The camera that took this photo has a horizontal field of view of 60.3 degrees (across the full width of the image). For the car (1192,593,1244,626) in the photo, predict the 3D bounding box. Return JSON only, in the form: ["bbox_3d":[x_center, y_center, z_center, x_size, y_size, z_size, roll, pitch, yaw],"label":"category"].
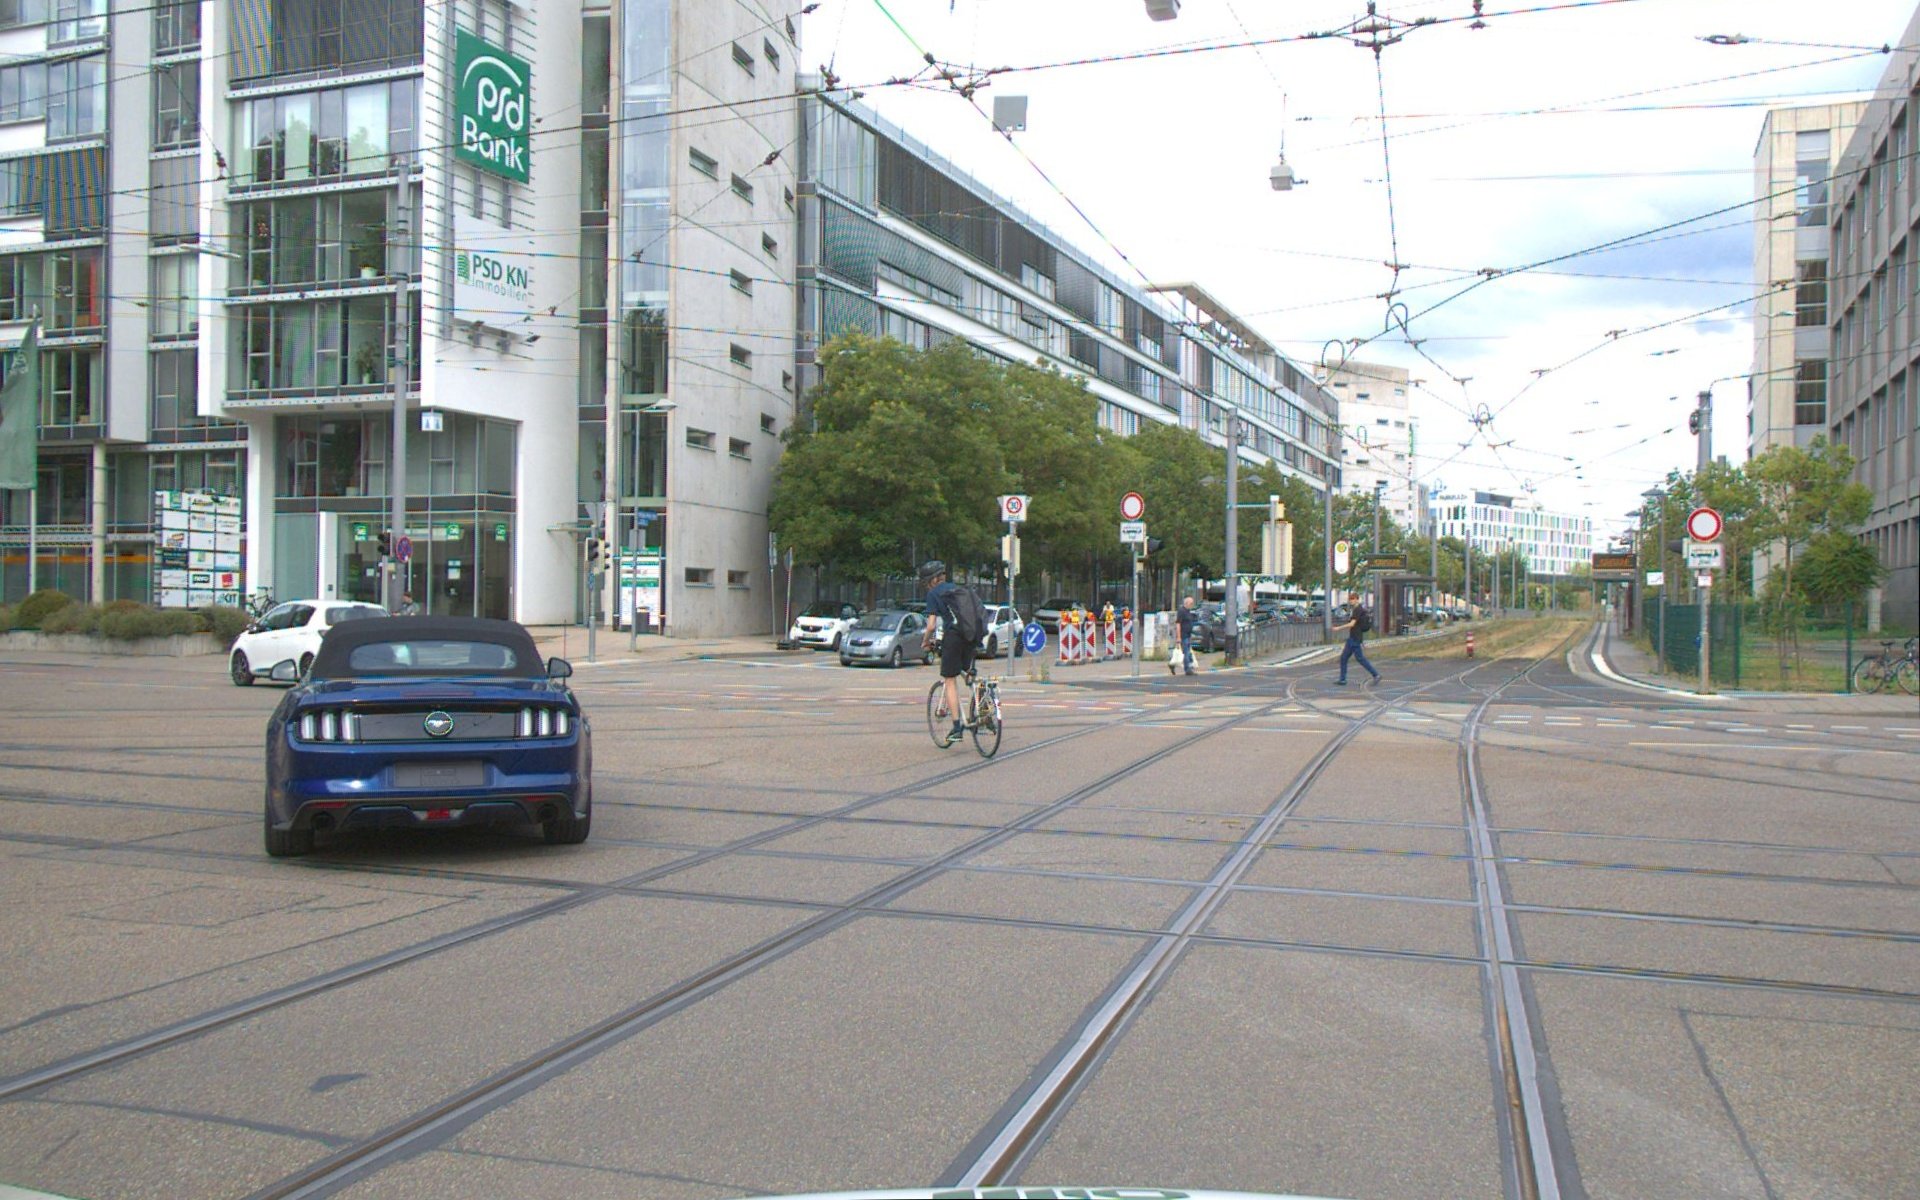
[{"bbox_3d":[13.575,0.478,86.863,1.864,1.613,4.182,2,1,21],"label":"car"}]

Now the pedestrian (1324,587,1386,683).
[{"bbox_3d":[8.122,0.705,34.032,1.064,1.931,0.901,-1,-1,26],"label":"pedestrian"}]

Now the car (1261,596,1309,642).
[{"bbox_3d":[14.889,0.858,75.551,1.747,2.022,4.123,0,0,17],"label":"car"}]

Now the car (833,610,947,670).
[{"bbox_3d":[-1.897,1.079,46.358,1.633,1.533,4.235,2,1,20],"label":"car"}]

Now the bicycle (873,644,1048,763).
[{"bbox_3d":[-0.033,1.028,17.143,0.793,1.105,2.106,0,0,-33],"label":"bicycle"}]

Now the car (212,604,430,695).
[{"bbox_3d":[-11.162,0.819,28.767,4.110,1.464,1.831,-1,0,41],"label":"car"}]

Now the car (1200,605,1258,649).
[{"bbox_3d":[10.233,0.996,62.793,1.668,1.634,4.081,0,0,17],"label":"car"}]

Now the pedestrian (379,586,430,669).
[{"bbox_3d":[-12.867,0.638,38.314,0.818,1.898,0.764,-1,-1,29],"label":"pedestrian"}]

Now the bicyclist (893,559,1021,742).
[{"bbox_3d":[-0.042,0.503,17.134,0.789,1.817,1.218,0,-1,-34],"label":"bicyclist"}]

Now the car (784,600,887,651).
[{"bbox_3d":[-4.112,0.823,55.414,1.792,1.584,4.217,2,1,20],"label":"car"}]

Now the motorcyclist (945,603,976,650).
[{"bbox_3d":[0.029,0.936,58.464,0.802,1.645,0.882,1,0,21],"label":"motorcyclist"}]

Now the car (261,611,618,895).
[{"bbox_3d":[-3.508,0.814,10.975,1.848,1.428,4.257,0,0,-20],"label":"car"}]

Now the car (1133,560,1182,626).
[{"bbox_3d":[11.622,-0.404,96.999,1.945,3.700,4.514,2,0,18],"label":"car"}]

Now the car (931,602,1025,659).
[{"bbox_3d":[0.618,0.949,53.209,1.679,1.689,4.133,2,1,20],"label":"car"}]

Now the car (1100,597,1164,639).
[{"bbox_3d":[7.425,0.737,71.064,1.679,1.689,4.133,2,1,20],"label":"car"}]

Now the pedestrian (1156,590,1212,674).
[{"bbox_3d":[5.079,0.716,37.449,0.971,1.888,0.899,-1,-1,33],"label":"pedestrian"}]

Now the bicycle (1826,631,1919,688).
[{"bbox_3d":[16.727,1.079,29.689,0.624,0.998,2.141,0,-3,-24],"label":"bicycle"}]

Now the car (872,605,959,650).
[{"bbox_3d":[-1.636,1.003,62.116,1.792,1.584,4.217,2,1,20],"label":"car"}]

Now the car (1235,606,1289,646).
[{"bbox_3d":[12.964,1.083,70.807,1.828,1.634,4.215,0,0,17],"label":"car"}]

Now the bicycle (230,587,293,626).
[{"bbox_3d":[-22.452,0.221,53.204,0.572,1.197,2.115,1,-1,18],"label":"bicycle"}]

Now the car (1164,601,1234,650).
[{"bbox_3d":[8.414,0.875,57.938,1.839,1.657,4.089,0,0,17],"label":"car"}]

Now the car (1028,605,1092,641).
[{"bbox_3d":[4.809,1.066,79.179,1.945,1.584,4.514,2,1,18],"label":"car"}]
